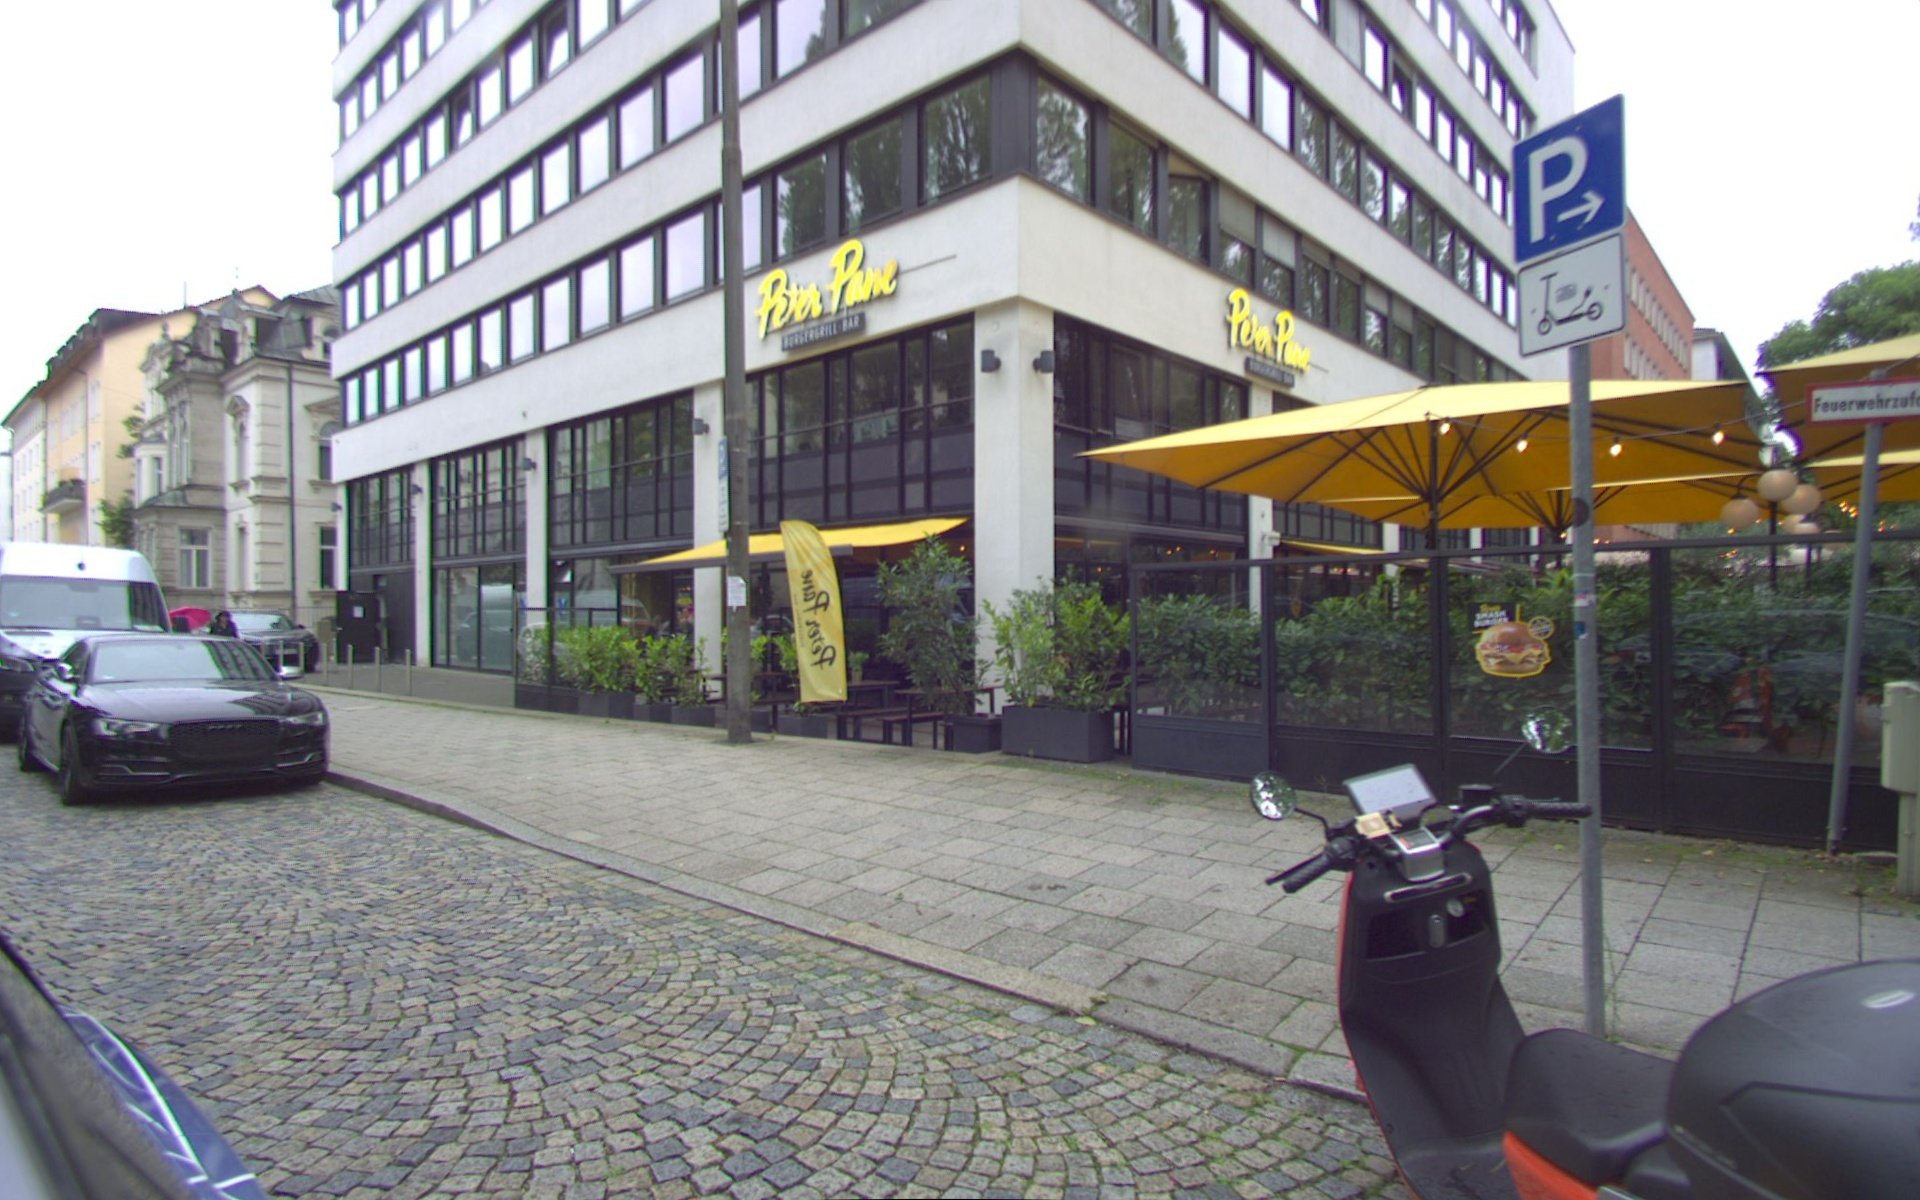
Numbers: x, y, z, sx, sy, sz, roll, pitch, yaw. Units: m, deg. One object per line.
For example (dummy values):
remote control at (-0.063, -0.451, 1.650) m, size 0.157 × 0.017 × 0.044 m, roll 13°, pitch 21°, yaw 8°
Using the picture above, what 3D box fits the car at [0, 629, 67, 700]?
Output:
car at (-20.569, 1.325, 21.454) m, size 3.998 × 1.399 × 1.973 m, roll -1°, pitch -1°, yaw 41°

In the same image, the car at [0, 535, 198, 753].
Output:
car at (-12.720, 0.560, 14.215) m, size 5.845 × 2.510 × 2.038 m, roll -1°, pitch -1°, yaw 41°

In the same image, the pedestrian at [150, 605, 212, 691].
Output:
pedestrian at (-16.085, 0.965, 20.898) m, size 0.800 × 1.719 × 0.916 m, roll -1°, pitch -1°, yaw 44°

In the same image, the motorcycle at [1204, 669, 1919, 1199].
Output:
motorcycle at (1.088, 0.785, 1.784) m, size 0.760 × 1.205 × 1.992 m, roll -1°, pitch -1°, yaw -2°

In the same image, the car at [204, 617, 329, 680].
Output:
car at (-18.696, 1.257, 27.228) m, size 4.169 × 1.544 × 1.887 m, roll -1°, pitch -1°, yaw 42°

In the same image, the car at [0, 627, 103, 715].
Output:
car at (-17.193, 1.229, 18.487) m, size 4.001 × 1.441 × 1.971 m, roll -1°, pitch -1°, yaw 44°

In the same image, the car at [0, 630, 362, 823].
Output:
car at (-7.384, 0.978, 9.415) m, size 4.115 × 1.340 × 1.973 m, roll -1°, pitch -1°, yaw 41°

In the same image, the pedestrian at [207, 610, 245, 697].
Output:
pedestrian at (-15.373, 1.104, 21.194) m, size 0.567 × 1.761 × 0.651 m, roll 0°, pitch -1°, yaw -44°
